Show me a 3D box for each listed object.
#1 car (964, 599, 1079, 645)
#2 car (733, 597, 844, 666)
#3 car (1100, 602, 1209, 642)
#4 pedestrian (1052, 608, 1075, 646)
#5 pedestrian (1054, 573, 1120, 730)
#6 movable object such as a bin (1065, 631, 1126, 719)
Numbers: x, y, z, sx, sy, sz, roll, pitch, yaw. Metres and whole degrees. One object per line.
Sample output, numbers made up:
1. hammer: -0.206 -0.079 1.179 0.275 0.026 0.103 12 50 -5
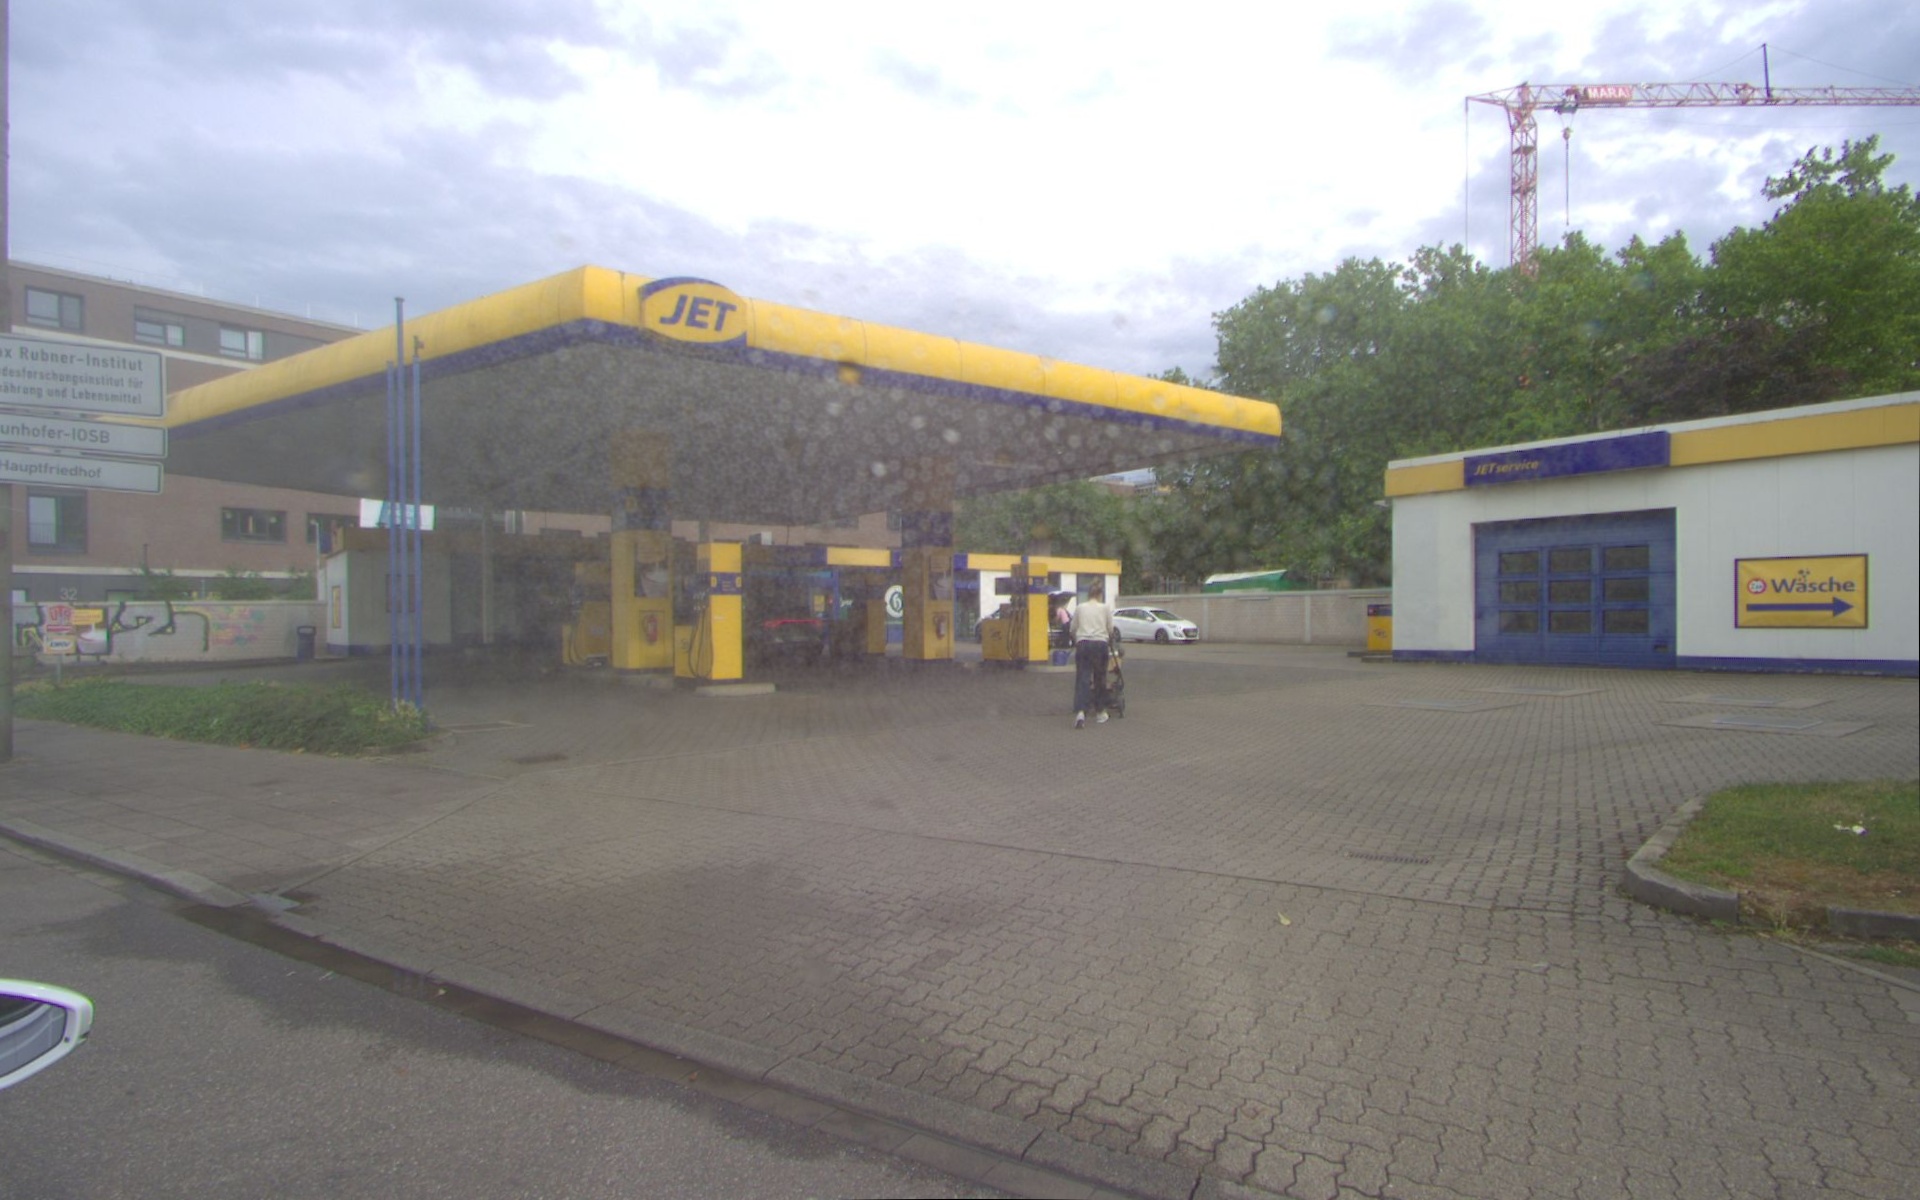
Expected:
1. car: 2.278 0.903 38.210 1.821 1.658 4.440 2 -3 -42
2. car: -4.398 0.711 25.130 1.962 1.517 4.313 -1 1 -20
3. car: 8.064 0.969 41.870 1.915 1.546 4.302 2 -3 -38
4. pedestrian: 3.764 0.974 36.456 0.573 1.364 0.607 1 -2 -38
5. pedestrian: 1.565 0.585 12.235 0.755 1.821 1.161 0 2 9
6. movable object such as a bin: 1.788 0.962 13.146 0.755 1.053 1.023 0 2 9
